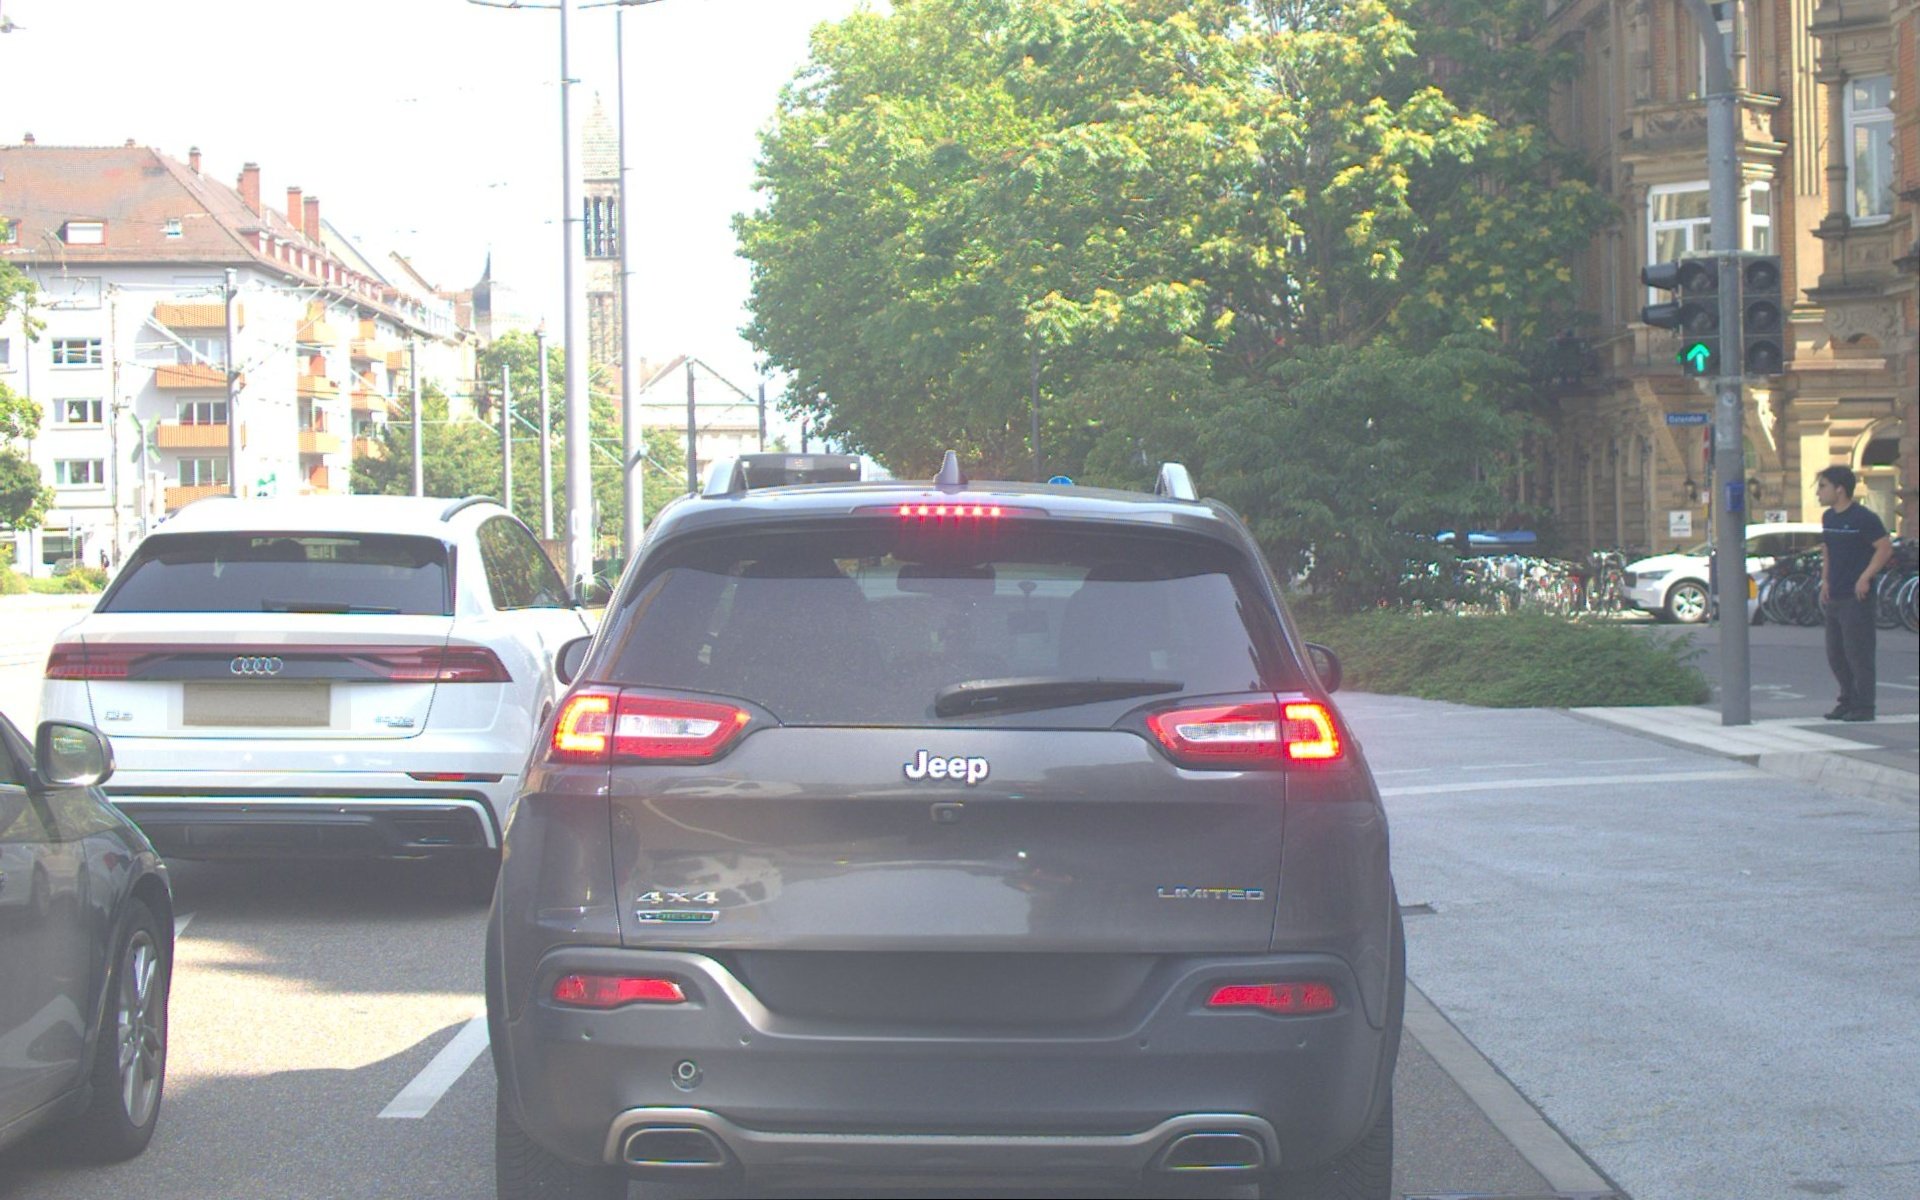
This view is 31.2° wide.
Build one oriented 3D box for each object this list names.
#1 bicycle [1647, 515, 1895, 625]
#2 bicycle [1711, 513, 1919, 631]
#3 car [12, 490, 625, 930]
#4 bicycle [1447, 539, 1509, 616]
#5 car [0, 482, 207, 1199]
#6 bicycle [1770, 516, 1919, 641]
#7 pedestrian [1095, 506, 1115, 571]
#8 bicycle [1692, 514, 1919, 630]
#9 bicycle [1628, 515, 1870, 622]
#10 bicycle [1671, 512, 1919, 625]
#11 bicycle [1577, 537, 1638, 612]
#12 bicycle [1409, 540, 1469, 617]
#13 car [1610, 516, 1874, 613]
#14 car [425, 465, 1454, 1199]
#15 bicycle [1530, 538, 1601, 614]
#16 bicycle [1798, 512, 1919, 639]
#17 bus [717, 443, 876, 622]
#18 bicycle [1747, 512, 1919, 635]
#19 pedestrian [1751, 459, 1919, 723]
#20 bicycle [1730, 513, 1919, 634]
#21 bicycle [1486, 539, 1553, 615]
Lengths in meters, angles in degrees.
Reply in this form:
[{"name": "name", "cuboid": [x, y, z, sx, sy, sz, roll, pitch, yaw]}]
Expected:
[{"name": "bicycle", "cuboid": [10.631, -0.395, 45.141, 3.003, 1.368, 0.947, -1, 1, -1]}, {"name": "bicycle", "cuboid": [10.733, -0.354, 41.718, 3.003, 1.368, 0.947, -1, 1, -1]}, {"name": "car", "cuboid": [-2.610, 0.363, 15.022, 1.902, 1.646, 4.309, 0, 1, 0]}, {"name": "bicycle", "cuboid": [8.798, -0.396, 58.460, 0.649, 1.249, 3.014, -1, 1, 2]}, {"name": "car", "cuboid": [-2.803, 0.566, 6.716, 1.747, 1.609, 4.309, 0, 1, 0]}, {"name": "bicycle", "cuboid": [10.781, -0.262, 38.915, 2.993, 1.366, 0.871, -1, 1, -1]}, {"name": "pedestrian", "cuboid": [4.516, -1.906, 106.934, 0.528, 2.007, 0.532, -1, 1, -2]}, {"name": "bicycle", "cuboid": [10.733, -0.357, 42.813, 3.003, 1.368, 0.947, -1, 1, -1]}, {"name": "bicycle", "cuboid": [10.578, -0.431, 46.182, 3.003, 1.368, 0.947, -1, 1, -1]}, {"name": "bicycle", "cuboid": [10.683, -0.404, 43.823, 3.003, 1.368, 0.947, -1, 1, -1]}, {"name": "bicycle", "cuboid": [11.086, -0.447, 58.906, 0.658, 1.245, 2.412, -1, 1, 2]}, {"name": "bicycle", "cuboid": [8.136, -0.381, 58.485, 0.649, 1.249, 3.014, -1, 1, 2]}, {"name": "car", "cuboid": [13.053, -0.603, 57.487, 3.931, 1.515, 1.683, -1, 1, -7]}, {"name": "car", "cuboid": [-0.018, 0.542, 8.314, 1.832, 1.646, 4.308, 0, 1, 1]}, {"name": "bicycle", "cuboid": [10.287, -0.423, 58.473, 0.763, 1.249, 3.014, -1, 1, 2]}, {"name": "bicycle", "cuboid": [10.884, -0.292, 38.008, 2.993, 1.366, 0.871, -1, 1, -1]}, {"name": "bus", "cuboid": [-3.132, -1.266, 66.488, 2.743, 3.096, 11.957, 1, 1, -2]}, {"name": "bicycle", "cuboid": [10.730, -0.328, 39.827, 2.993, 1.366, 0.871, -1, 1, -1]}, {"name": "pedestrian", "cuboid": [6.002, -0.064, 23.316, 0.766, 1.735, 0.901, -3, 1, -33]}, {"name": "bicycle", "cuboid": [10.744, -0.330, 40.775, 2.993, 1.366, 0.871, -1, 1, -1]}, {"name": "bicycle", "cuboid": [9.497, -0.408, 58.458, 0.732, 1.249, 3.014, -1, 1, 2]}]
